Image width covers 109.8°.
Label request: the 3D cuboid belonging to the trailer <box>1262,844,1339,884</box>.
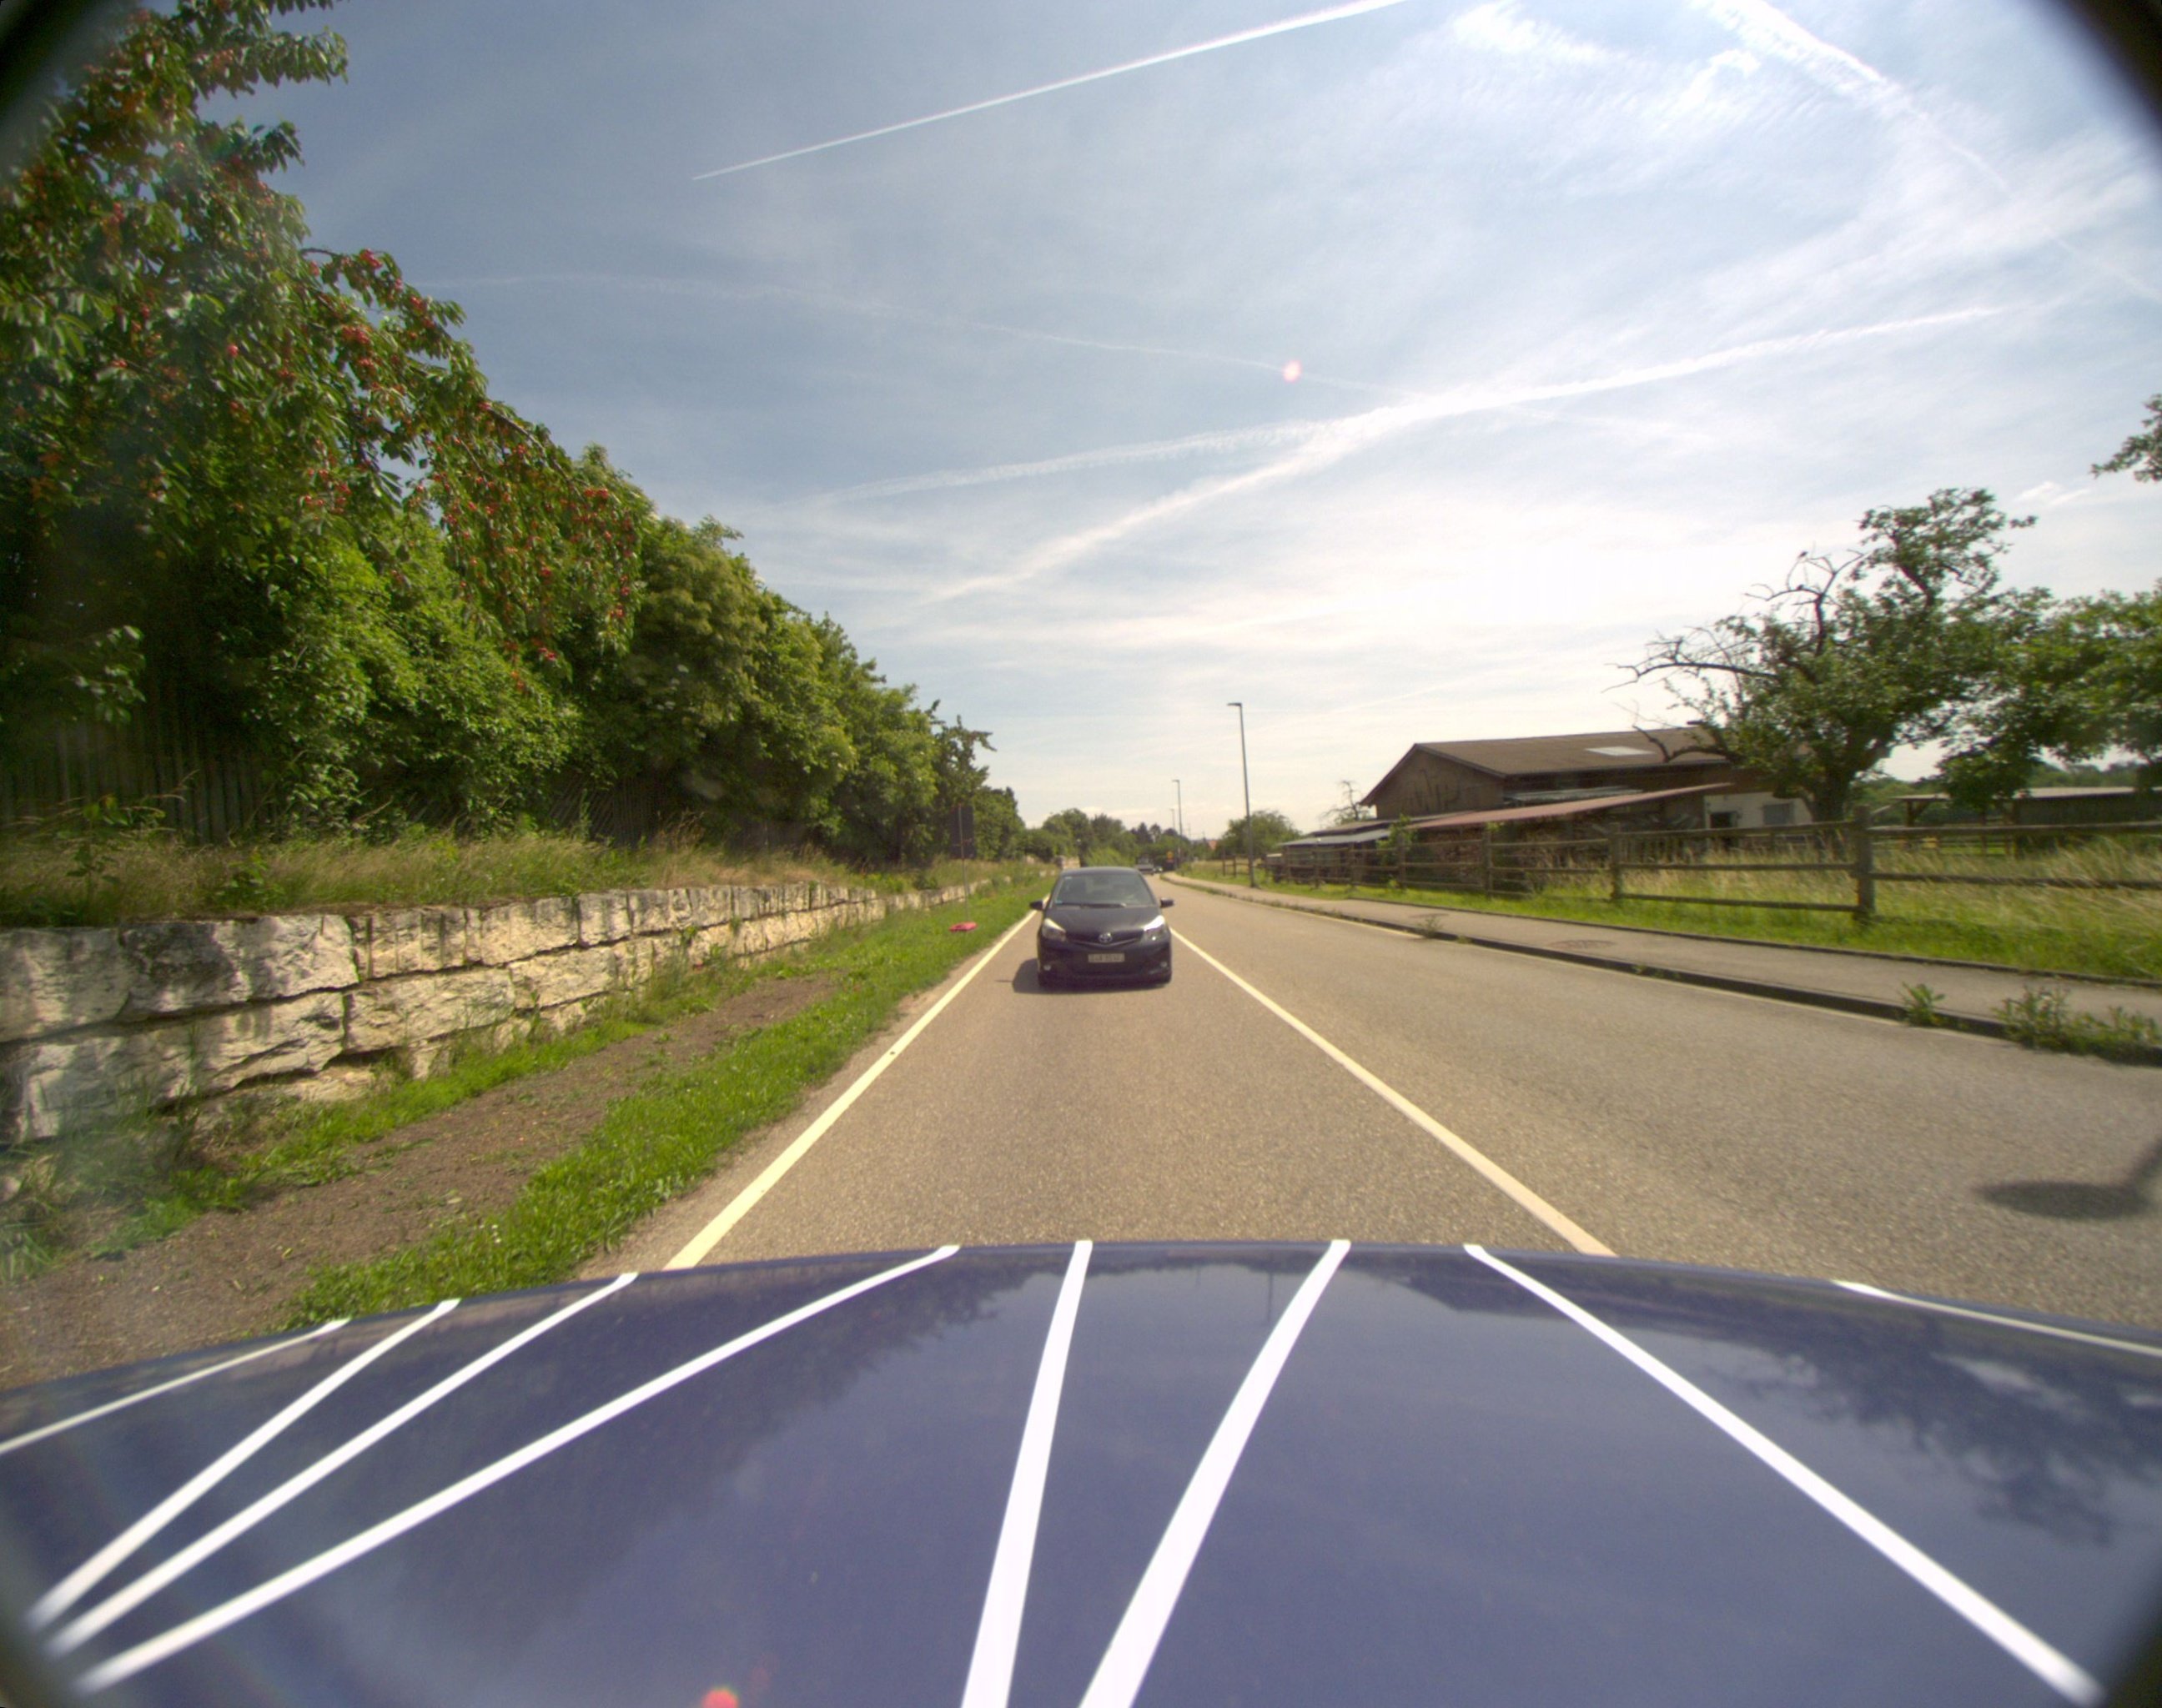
[{"bbox_3d":[10.102,0.450,35.447,2.160,1.693,5.029,-2,0,1],"label":"trailer"}]

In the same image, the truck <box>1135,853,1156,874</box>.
[{"bbox_3d":[7.534,1.102,88.374,2.227,2.279,6.495,-2,0,6],"label":"truck"}]

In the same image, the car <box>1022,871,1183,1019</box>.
[{"bbox_3d":[0.280,1.017,10.287,1.677,1.456,4.433,-1,0,1],"label":"car"}]
